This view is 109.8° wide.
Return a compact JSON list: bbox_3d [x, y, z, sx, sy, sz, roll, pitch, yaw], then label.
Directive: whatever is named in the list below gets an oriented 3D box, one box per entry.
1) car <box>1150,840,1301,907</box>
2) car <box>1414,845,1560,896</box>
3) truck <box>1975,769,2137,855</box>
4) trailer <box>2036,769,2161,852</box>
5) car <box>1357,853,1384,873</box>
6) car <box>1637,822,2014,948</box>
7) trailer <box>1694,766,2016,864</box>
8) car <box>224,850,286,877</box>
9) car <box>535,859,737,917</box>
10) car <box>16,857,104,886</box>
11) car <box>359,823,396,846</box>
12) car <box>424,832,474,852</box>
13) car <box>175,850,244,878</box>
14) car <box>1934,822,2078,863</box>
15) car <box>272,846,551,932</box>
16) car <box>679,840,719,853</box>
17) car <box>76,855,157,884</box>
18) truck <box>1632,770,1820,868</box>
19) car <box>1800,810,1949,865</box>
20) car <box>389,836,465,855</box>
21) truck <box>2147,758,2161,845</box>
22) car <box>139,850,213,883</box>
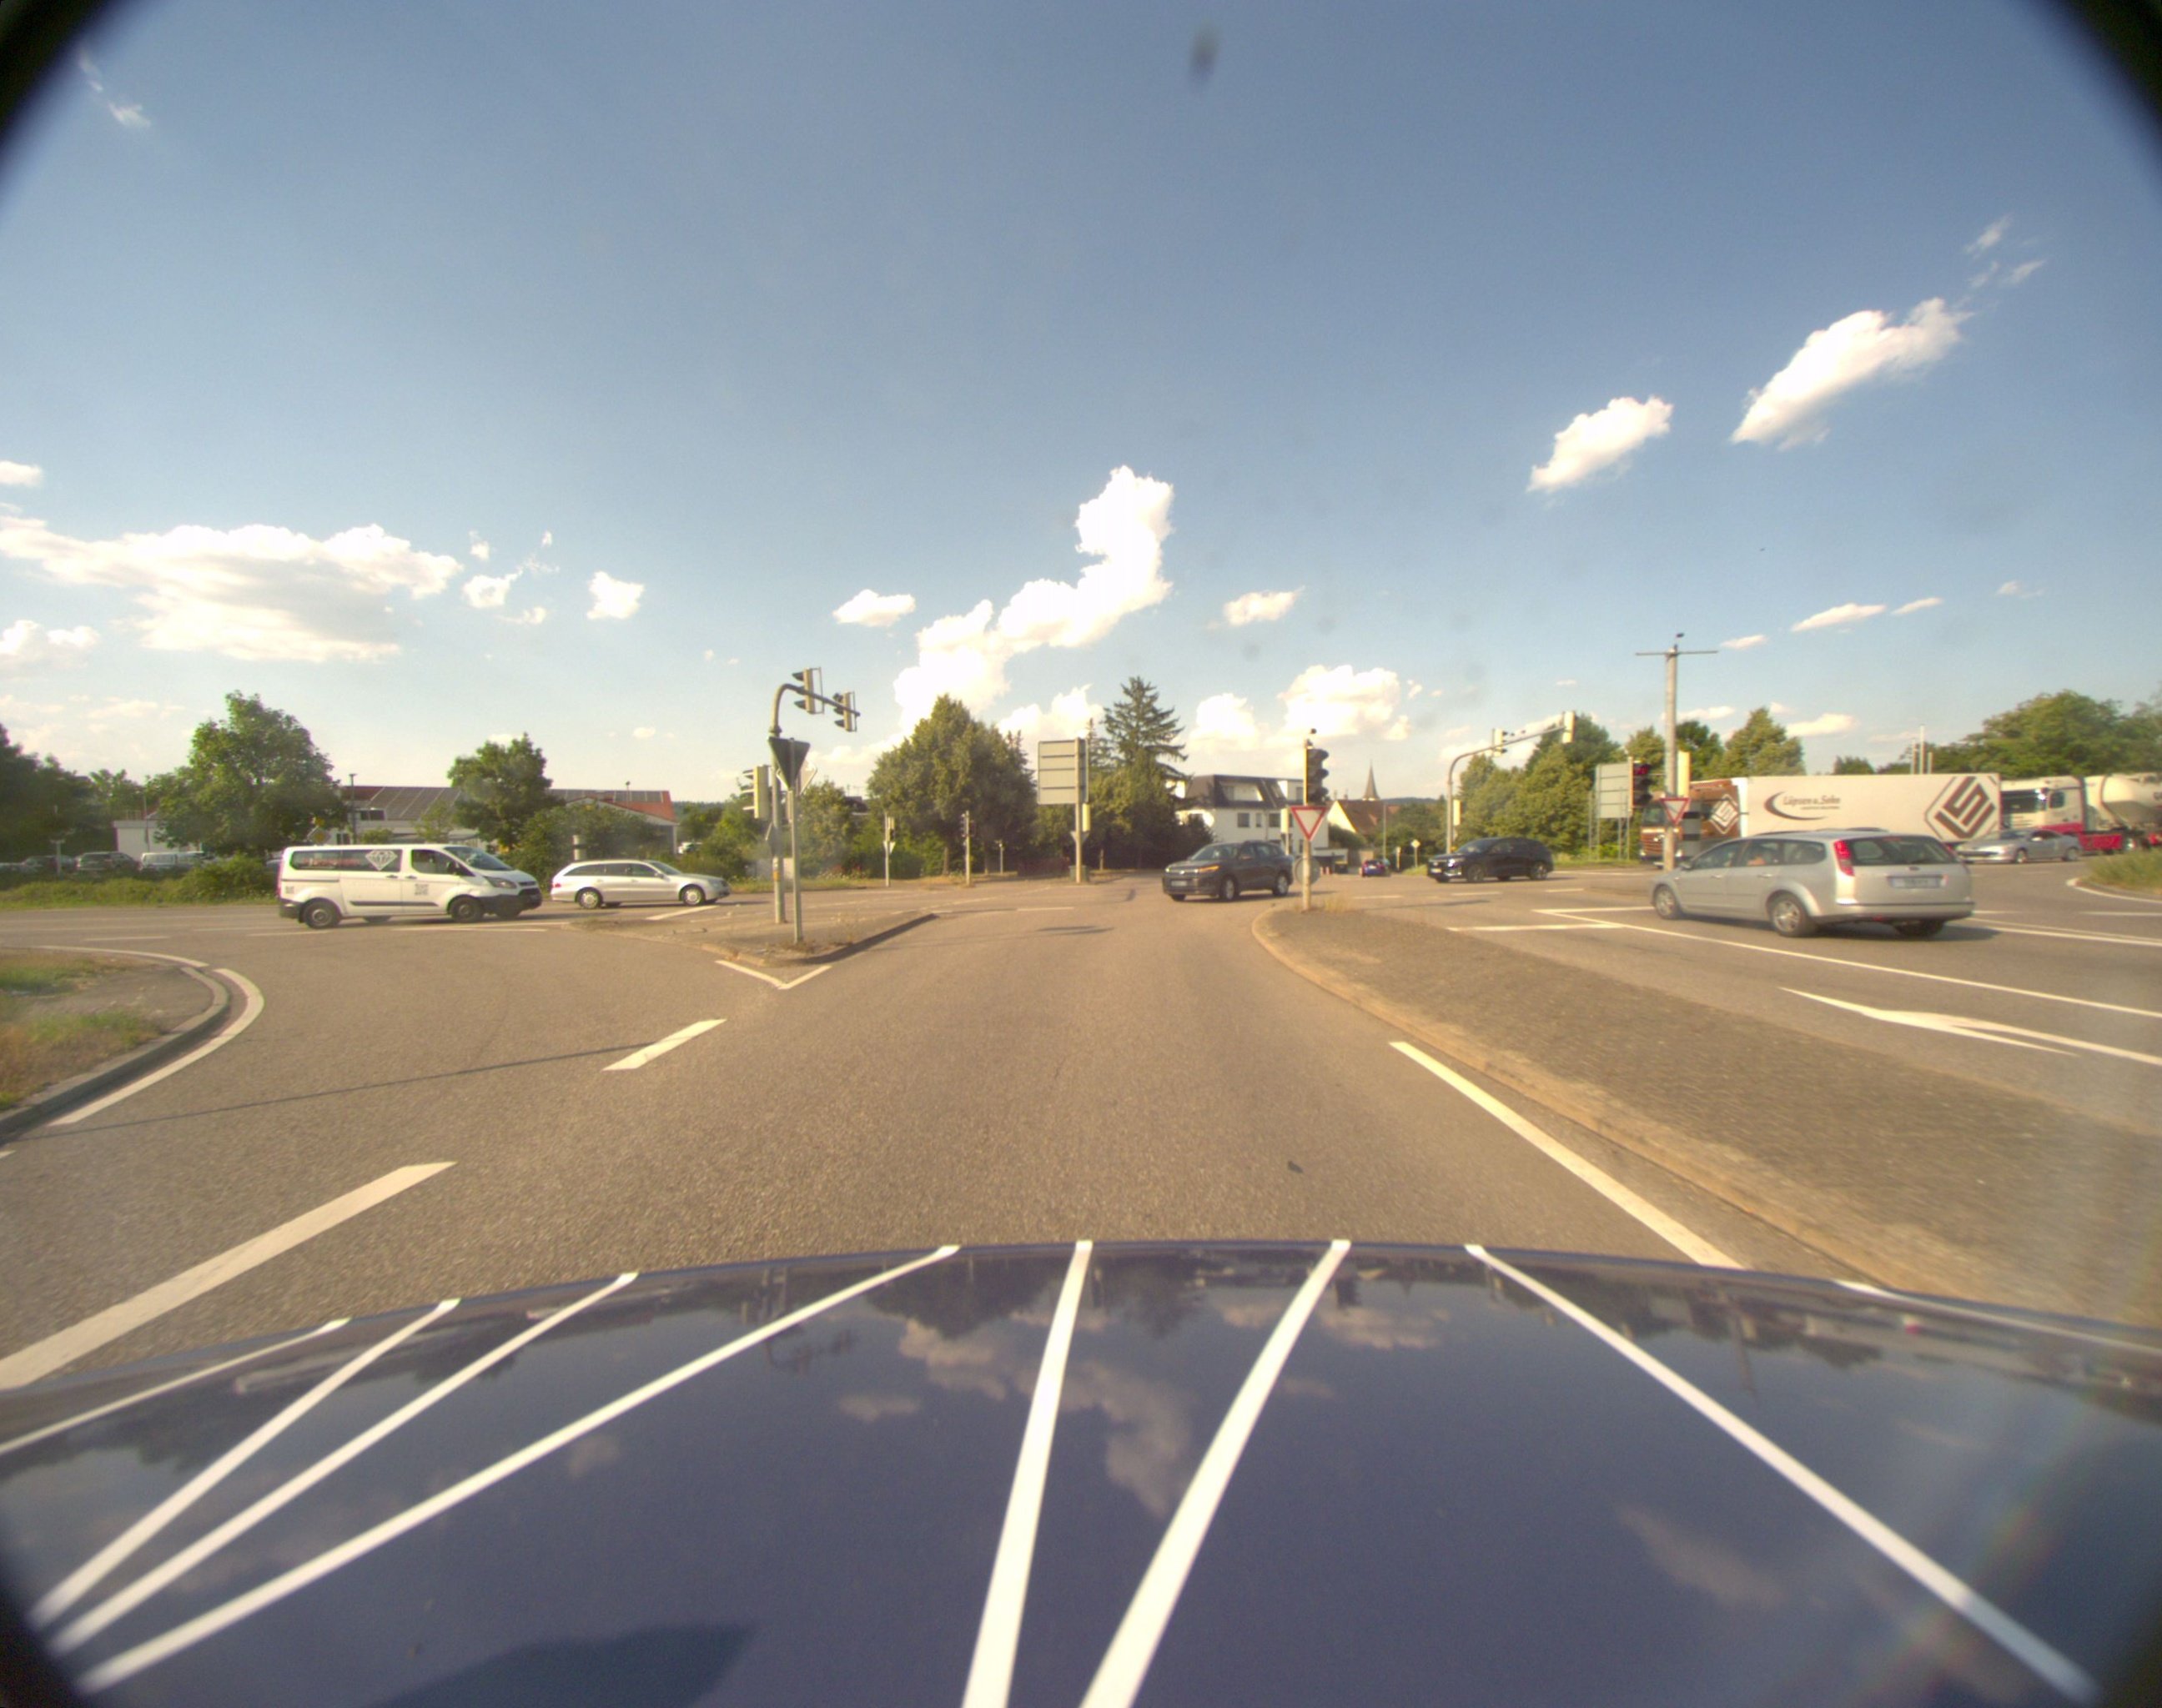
[{"bbox_3d":[4.163,0.491,21.429,4.477,1.619,1.784,-2,0,-42],"label":"car"},{"bbox_3d":[14.712,0.589,27.618,4.548,1.603,1.775,-2,0,-10],"label":"car"},{"bbox_3d":[46.387,-1.959,36.199,5.686,3.783,2.261,-2,0,-10],"label":"truck"},{"bbox_3d":[52.086,-2.161,37.170,9.525,3.755,2.264,-2,-1,-10],"label":"trailer"},{"bbox_3d":[23.093,0.696,60.751,1.790,1.488,4.308,-3,0,19],"label":"car"},{"bbox_3d":[10.888,0.458,11.684,1.818,1.519,4.357,-2,-2,7],"label":"car"},{"bbox_3d":[35.608,-1.784,34.971,14.336,4.043,2.538,-2,0,-9],"label":"trailer"},{"bbox_3d":[-65.559,0.761,60.377,2.003,2.001,4.663,-2,-1,-30],"label":"car"},{"bbox_3d":[-13.458,0.992,23.303,4.953,1.505,1.861,-2,0,-10],"label":"car"},{"bbox_3d":[-74.180,1.302,55.306,2.003,2.001,4.922,-2,-1,-30],"label":"car"},{"bbox_3d":[-61.865,-1.689,66.866,1.834,1.834,3.779,-2,0,-35],"label":"car"},{"bbox_3d":[-57.851,-1.099,69.593,3.335,1.680,1.686,-2,0,-35],"label":"car"},{"bbox_3d":[-67.459,0.780,58.905,2.003,2.001,4.922,-2,-1,-30],"label":"car"},{"bbox_3d":[37.853,-0.471,31.152,4.000,1.477,1.998,-2,0,-10],"label":"car"},{"bbox_3d":[-16.164,0.792,18.638,4.819,1.936,1.905,0,0,-10],"label":"car"},{"bbox_3d":[-43.041,-0.880,85.651,3.942,1.367,2.016,-1,-1,-30],"label":"car"},{"bbox_3d":[-71.577,1.205,56.489,2.003,2.001,4.922,-2,-1,-30],"label":"car"},{"bbox_3d":[28.636,-1.517,33.832,6.662,4.020,2.538,-2,0,-9],"label":"truck"},{"bbox_3d":[31.129,-0.613,29.863,4.372,1.936,1.907,-2,0,-10],"label":"car"},{"bbox_3d":[-57.027,-0.732,66.376,4.801,1.525,1.846,-2,0,-35],"label":"car"},{"bbox_3d":[52.553,-2.508,34.077,5.602,3.981,3.373,-2,0,-10],"label":"truck"},{"bbox_3d":[-59.535,0.821,50.085,1.971,2.002,4.645,-2,0,-36],"label":"car"}]
